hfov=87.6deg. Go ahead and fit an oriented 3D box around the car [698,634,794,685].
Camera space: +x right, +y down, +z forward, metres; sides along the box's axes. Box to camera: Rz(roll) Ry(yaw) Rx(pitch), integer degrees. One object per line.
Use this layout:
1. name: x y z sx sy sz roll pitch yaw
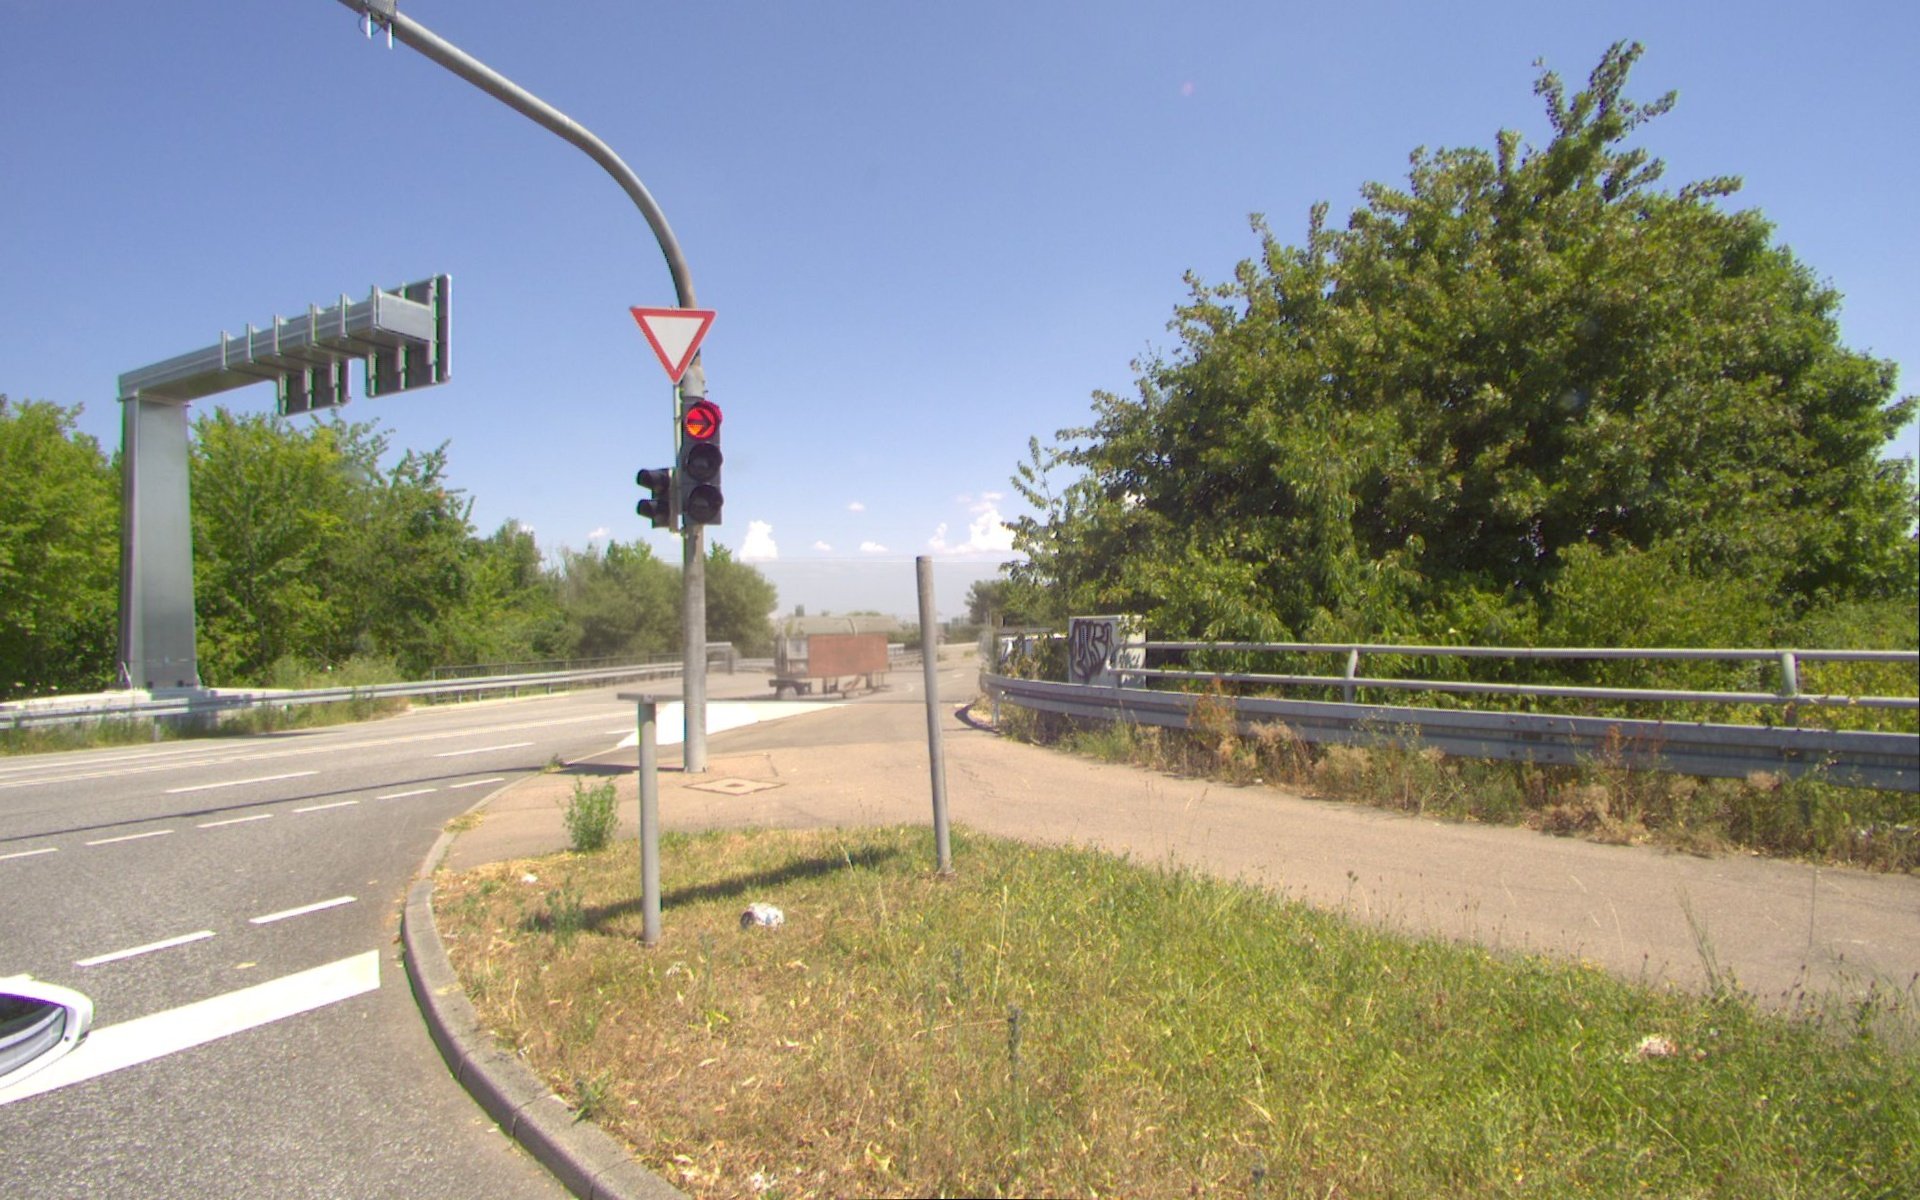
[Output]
1. car: -7.873 2.157 37.304 1.870 1.652 4.274 -5 -2 11
